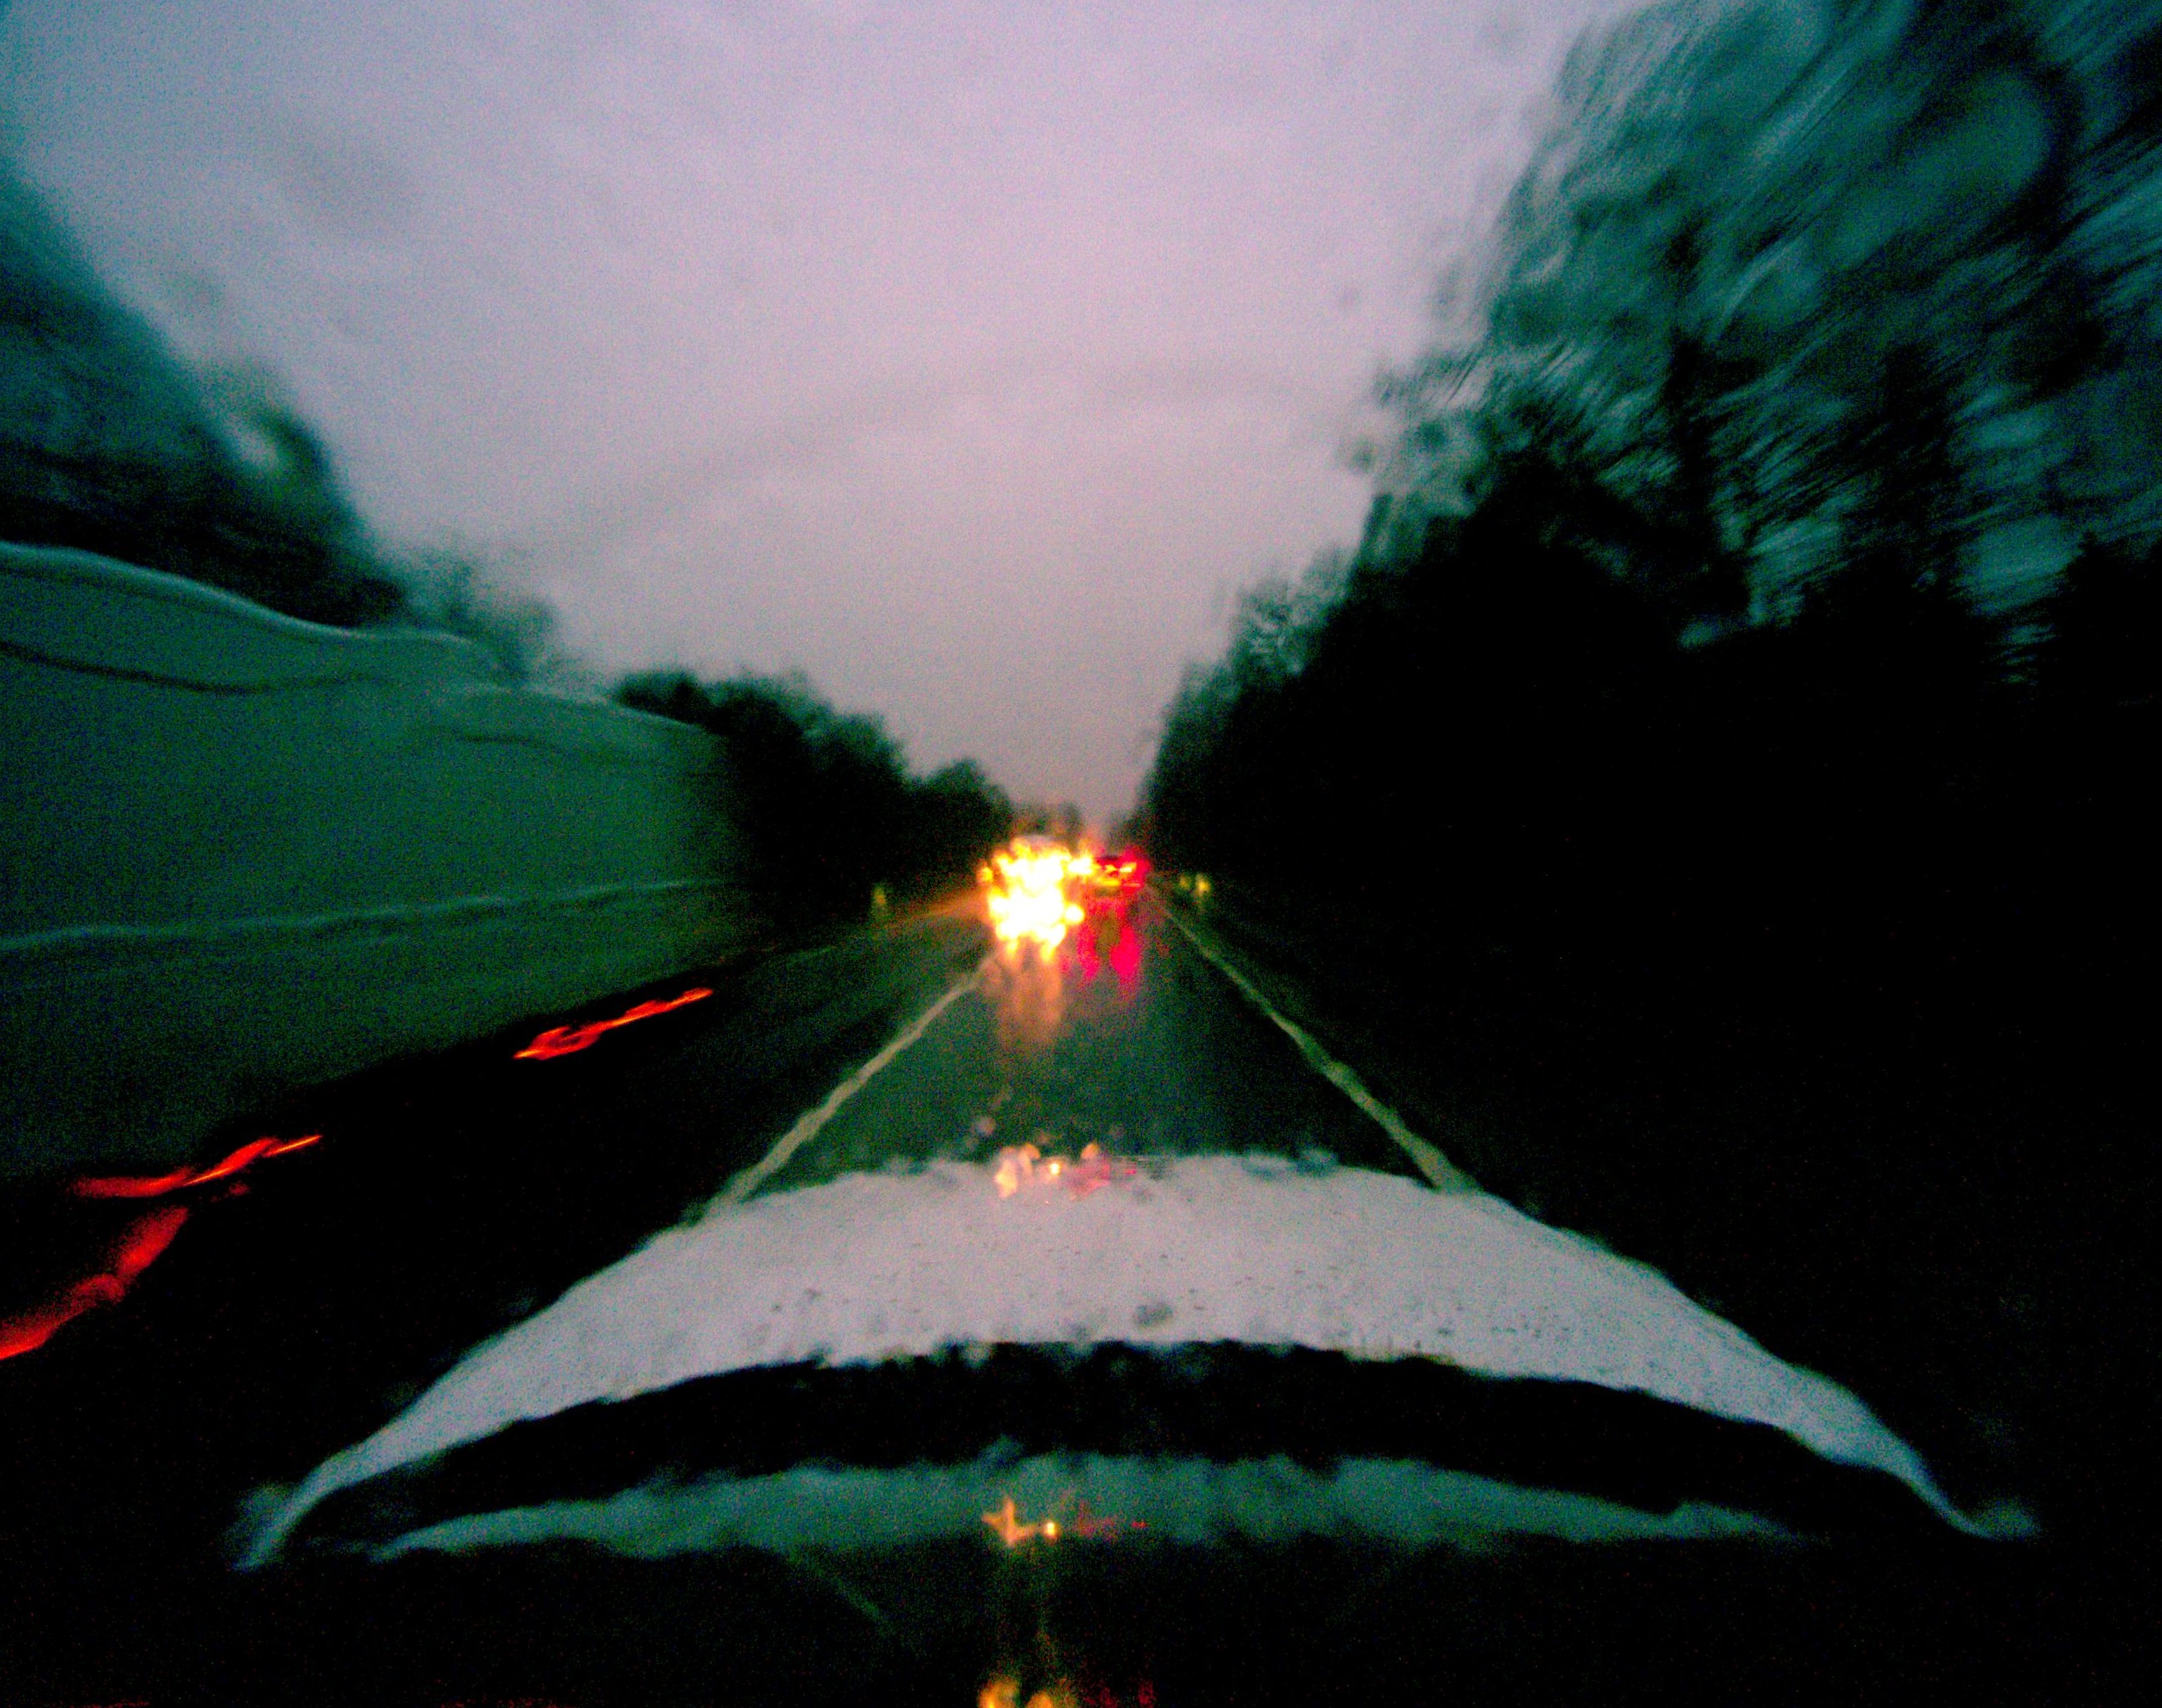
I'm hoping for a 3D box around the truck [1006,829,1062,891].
[{"bbox_3d":[-2.172,0.267,39.546,2.095,2.771,6.874,0,0,2],"label":"truck"}]

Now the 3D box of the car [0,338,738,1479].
[{"bbox_3d":[-3.676,0.143,2.714,2.066,2.811,6.655,-1,0,1],"label":"car"}]

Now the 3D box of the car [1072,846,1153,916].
[{"bbox_3d":[0.908,0.735,24.382,2.190,1.878,4.828,0,0,1],"label":"car"}]

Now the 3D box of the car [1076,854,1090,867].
[{"bbox_3d":[0.322,0.797,106.155,1.688,1.560,4.131,0,1,2],"label":"car"}]
